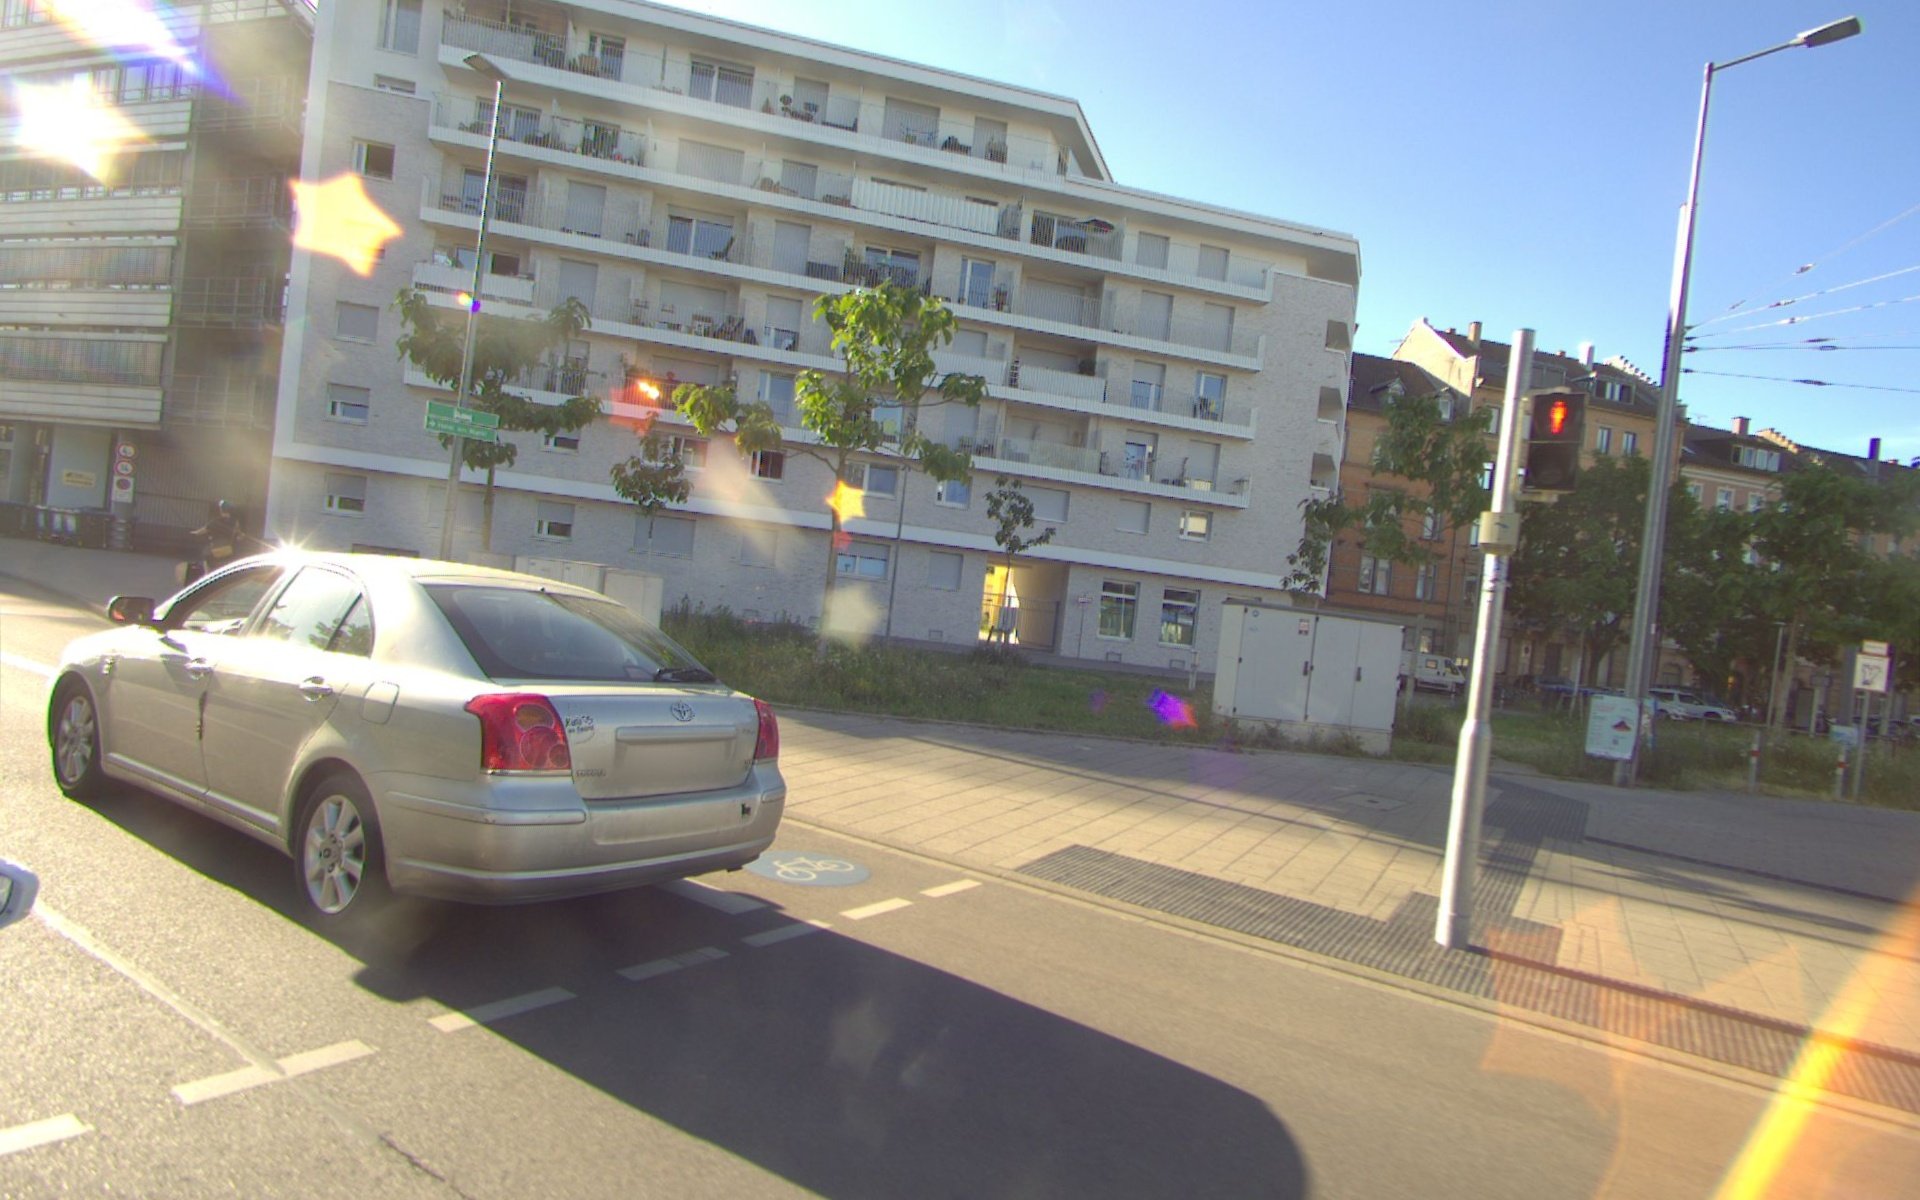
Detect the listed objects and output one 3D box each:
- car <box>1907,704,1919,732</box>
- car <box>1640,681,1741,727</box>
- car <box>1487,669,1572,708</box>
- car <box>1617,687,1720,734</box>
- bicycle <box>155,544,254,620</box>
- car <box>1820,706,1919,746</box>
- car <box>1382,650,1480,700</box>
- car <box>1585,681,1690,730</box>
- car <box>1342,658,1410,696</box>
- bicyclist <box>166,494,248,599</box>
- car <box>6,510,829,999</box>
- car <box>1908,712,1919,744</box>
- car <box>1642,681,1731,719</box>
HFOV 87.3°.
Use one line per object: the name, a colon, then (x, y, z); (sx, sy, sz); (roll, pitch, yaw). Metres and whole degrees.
car: (65.752, 8.093, 66.839); (4.192, 1.738, 1.996); (7, 0, -12)
car: (36.992, 5.237, 51.007); (3.940, 1.738, 1.993); (6, 0, 38)
car: (33.706, 5.188, 59.662); (1.967, 1.738, 4.253); (6, -1, -12)
car: (34.924, 5.412, 49.641); (3.940, 1.738, 1.993); (6, 0, 38)
bicycle: (-12.419, -0.313, 16.512); (2.170, 1.045, 0.499); (6, 0, 33)
car: (48.958, 6.724, 54.040); (1.988, 1.504, 3.950); (7, -1, -44)
car: (26.731, 4.230, 57.168); (4.516, 2.239, 1.997); (7, 0, -9)
car: (32.511, 5.044, 48.307); (3.940, 1.738, 1.993); (6, 0, 38)
car: (19.436, 3.578, 47.177); (1.962, 1.415, 4.003); (6, -1, 9)
bicyclist: (-12.306, -0.880, 16.434); (1.026, 1.586, 0.625); (6, 0, 31)
car: (-3.010, 0.465, 5.242); (4.415, 1.449, 1.752); (6, 0, 32)
car: (54.887, 7.302, 55.203); (1.988, 1.738, 3.950); (7, -1, -44)
car: (44.489, 6.126, 61.646); (4.192, 1.738, 1.996); (7, 0, -12)
